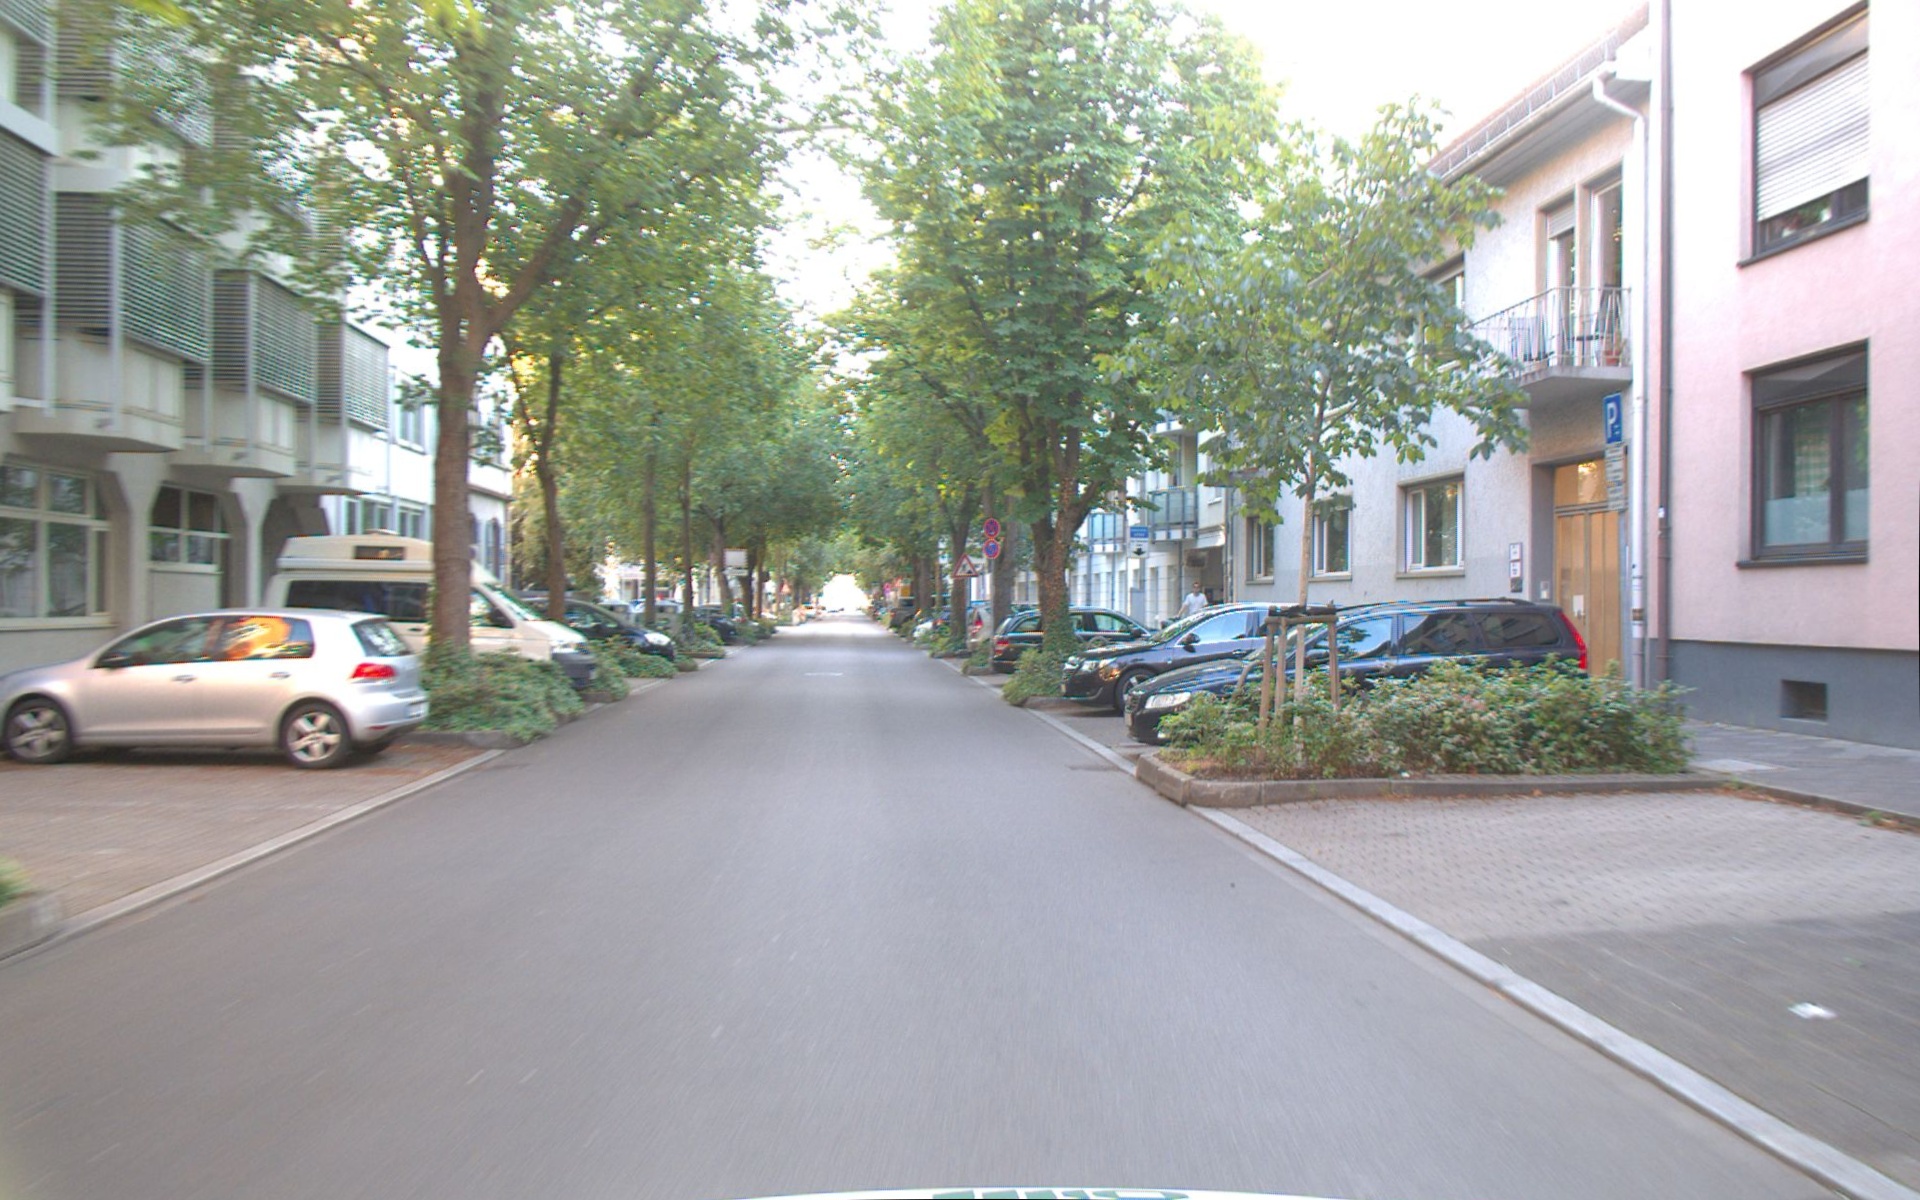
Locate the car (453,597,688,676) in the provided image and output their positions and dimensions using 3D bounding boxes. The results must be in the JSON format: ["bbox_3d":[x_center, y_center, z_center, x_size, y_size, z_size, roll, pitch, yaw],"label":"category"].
[{"bbox_3d":[-8.612,0.801,36.946,4.756,1.650,2.159,1,0,-4],"label":"car"}]

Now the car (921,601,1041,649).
[{"bbox_3d":[0.724,0.881,59.420,4.009,1.476,1.930,-3,0,-10],"label":"car"}]

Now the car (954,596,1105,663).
[{"bbox_3d":[1.875,0.793,45.430,3.892,1.613,1.914,-2,0,-5],"label":"car"}]

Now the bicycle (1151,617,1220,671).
[{"bbox_3d":[5.238,1.009,38.619,0.609,1.184,3.393,0,0,-10],"label":"bicycle"}]

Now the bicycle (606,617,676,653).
[{"bbox_3d":[-7.548,0.826,39.162,1.521,0.845,0.613,0,-1,-1],"label":"bicycle"}]

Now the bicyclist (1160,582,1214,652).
[{"bbox_3d":[5.335,0.394,38.870,0.953,1.632,1.133,0,0,-12],"label":"bicyclist"}]

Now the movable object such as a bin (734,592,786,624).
[{"bbox_3d":[-15.775,0.614,130.191,3.972,2.425,2.778,0,0,-10],"label":"movable object such as a bin"}]

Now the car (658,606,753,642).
[{"bbox_3d":[-11.367,1.065,74.044,3.905,1.593,1.929,0,0,1],"label":"car"}]

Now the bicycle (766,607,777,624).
[{"bbox_3d":[-13.187,1.110,115.825,0.670,1.173,1.976,0,0,-9],"label":"bicycle"}]

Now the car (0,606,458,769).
[{"bbox_3d":[-7.290,0.821,16.353,4.085,1.494,1.951,0,0,-4],"label":"car"}]

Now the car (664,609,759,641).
[{"bbox_3d":[-11.467,1.142,76.669,4.203,1.455,1.877,0,0,-5],"label":"car"}]

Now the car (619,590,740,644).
[{"bbox_3d":[-10.774,0.650,63.803,4.418,1.990,1.997,1,-1,-6],"label":"car"}]

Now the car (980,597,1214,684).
[{"bbox_3d":[2.604,0.774,32.259,4.368,1.452,2.011,-2,0,0],"label":"car"}]

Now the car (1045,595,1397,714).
[{"bbox_3d":[3.610,0.739,23.469,4.585,1.412,1.999,-2,0,-3],"label":"car"}]

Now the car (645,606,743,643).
[{"bbox_3d":[-11.057,1.032,69.010,3.910,1.490,1.920,1,0,-6],"label":"car"}]

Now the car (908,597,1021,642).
[{"bbox_3d":[0.170,0.824,70.599,4.556,1.645,2.006,-3,0,-8],"label":"car"}]

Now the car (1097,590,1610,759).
[{"bbox_3d":[3.900,0.715,17.012,4.742,1.473,2.041,-2,0,-2],"label":"car"}]

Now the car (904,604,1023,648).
[{"bbox_3d":[0.120,1.024,65.301,4.511,1.493,1.794,-3,0,-5],"label":"car"}]

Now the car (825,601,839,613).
[{"bbox_3d":[-18.480,0.993,238.477,1.971,1.641,4.115,1,1,-6],"label":"car"}]

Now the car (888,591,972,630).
[{"bbox_3d":[-1.675,0.574,91.286,4.511,2.102,2.195,0,0,-6],"label":"car"}]

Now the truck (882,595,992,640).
[{"bbox_3d":[-1.272,0.915,88.566,5.771,2.351,2.211,0,-1,-4],"label":"truck"}]

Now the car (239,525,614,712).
[{"bbox_3d":[-7.781,0.279,24.572,4.905,2.618,2.119,1,0,-5],"label":"car"}]
